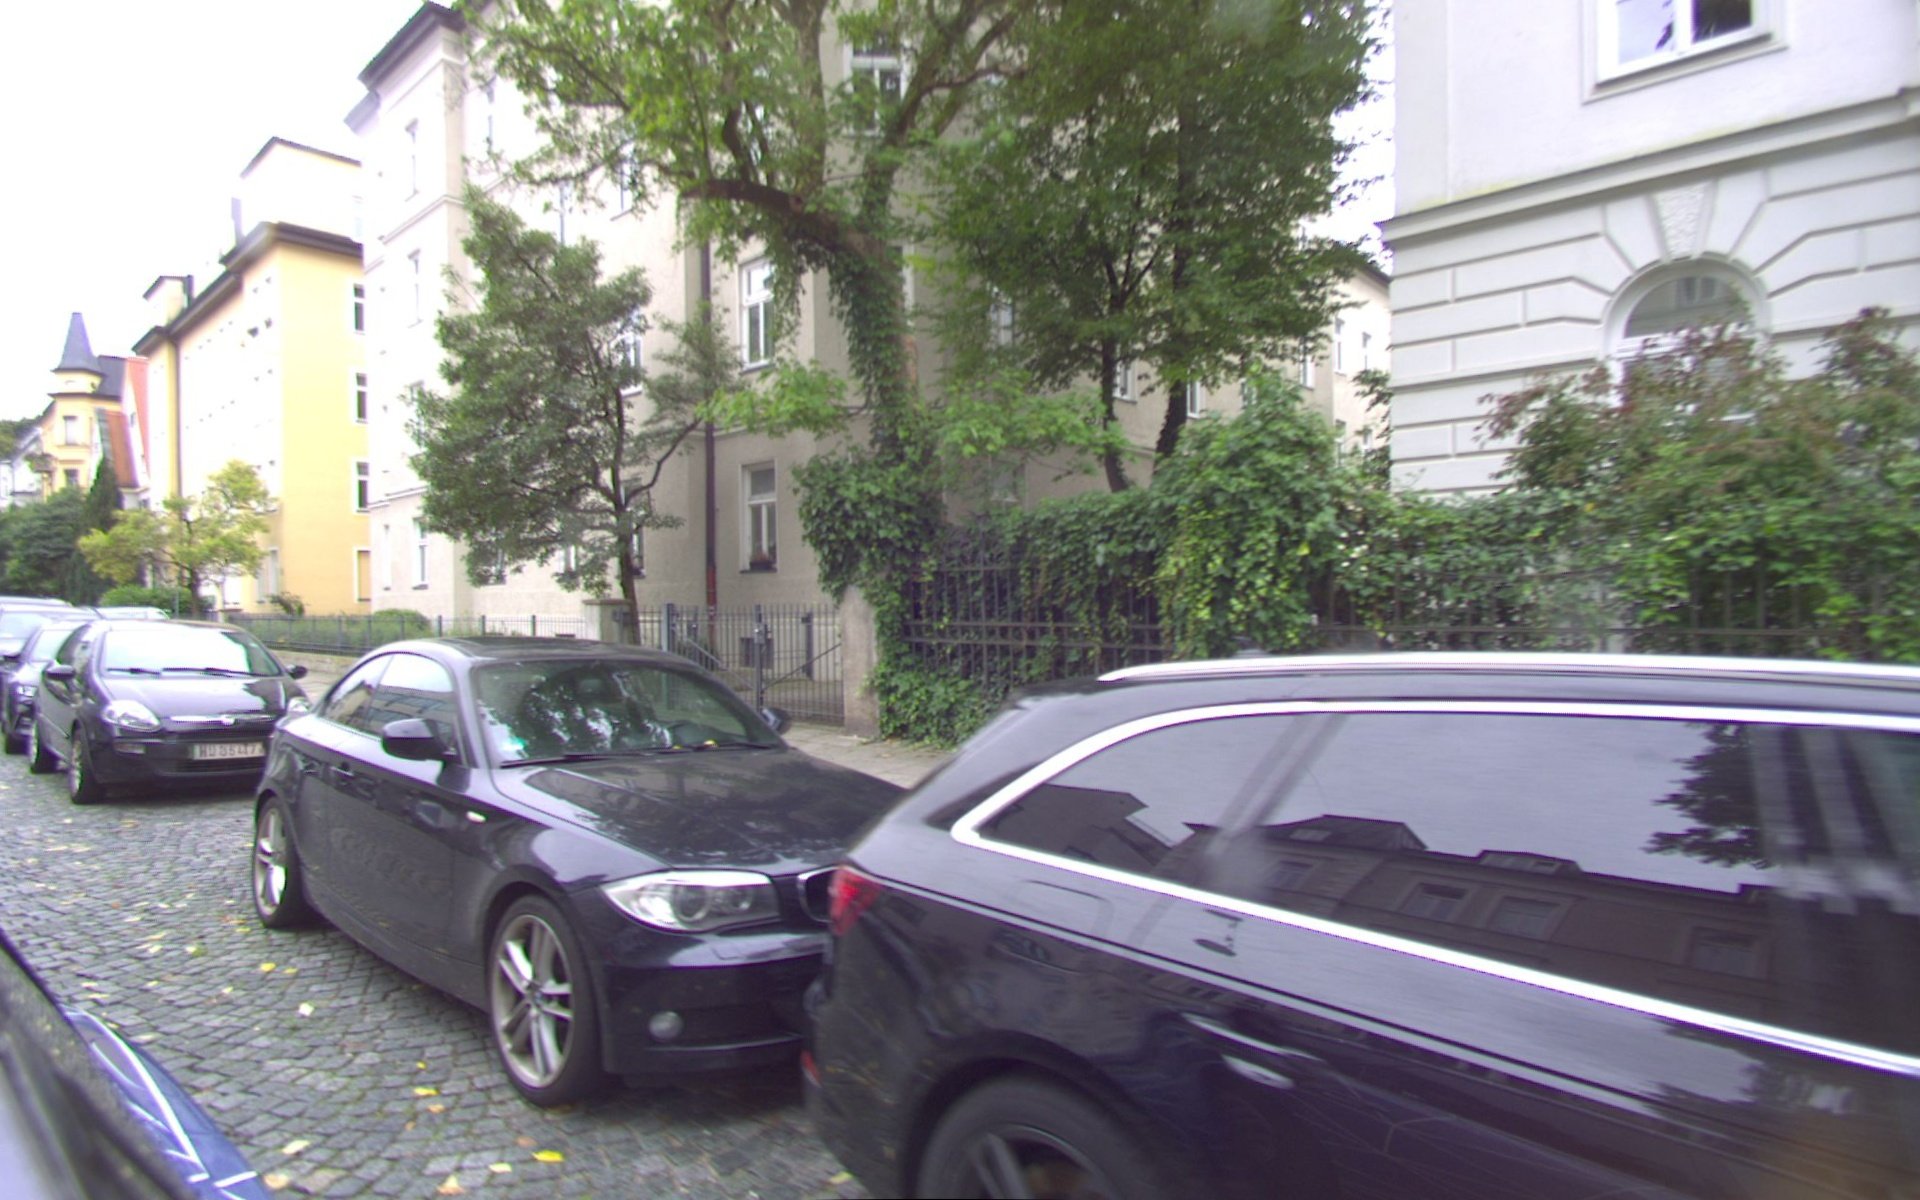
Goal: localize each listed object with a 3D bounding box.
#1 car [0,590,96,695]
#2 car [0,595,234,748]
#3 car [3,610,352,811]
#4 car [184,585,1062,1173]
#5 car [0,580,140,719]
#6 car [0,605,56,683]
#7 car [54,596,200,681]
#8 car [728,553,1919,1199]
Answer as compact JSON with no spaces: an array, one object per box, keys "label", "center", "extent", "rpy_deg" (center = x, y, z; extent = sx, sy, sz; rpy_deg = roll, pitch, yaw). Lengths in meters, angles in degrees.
[{"label":"car","center":[-19.164,0.822,20.487],"extent":[4.825,1.932,1.853],"rpy_deg":[-1,-2,41]},{"label":"car","center":[-11.023,0.791,12.881],"extent":[5.017,1.573,1.957],"rpy_deg":[-1,-2,43]},{"label":"car","center":[-7.310,0.837,9.303],"extent":[4.167,1.455,1.646],"rpy_deg":[-1,-1,39]},{"label":"car","center":[-1.881,0.752,4.639],"extent":[4.494,1.428,1.764],"rpy_deg":[-1,-3,41]},{"label":"car","center":[-15.008,0.755,16.248],"extent":[5.175,1.932,1.972],"rpy_deg":[-1,-3,41]},{"label":"car","center":[-23.387,1.029,24.289],"extent":[4.399,1.748,1.846],"rpy_deg":[-1,-3,40]},{"label":"car","center":[-20.230,0.874,24.512],"extent":[4.655,1.747,1.925],"rpy_deg":[-1,3,41]},{"label":"car","center":[1.738,0.705,1.418],"extent":[4.407,1.428,1.866],"rpy_deg":[-1,-3,43]}]
